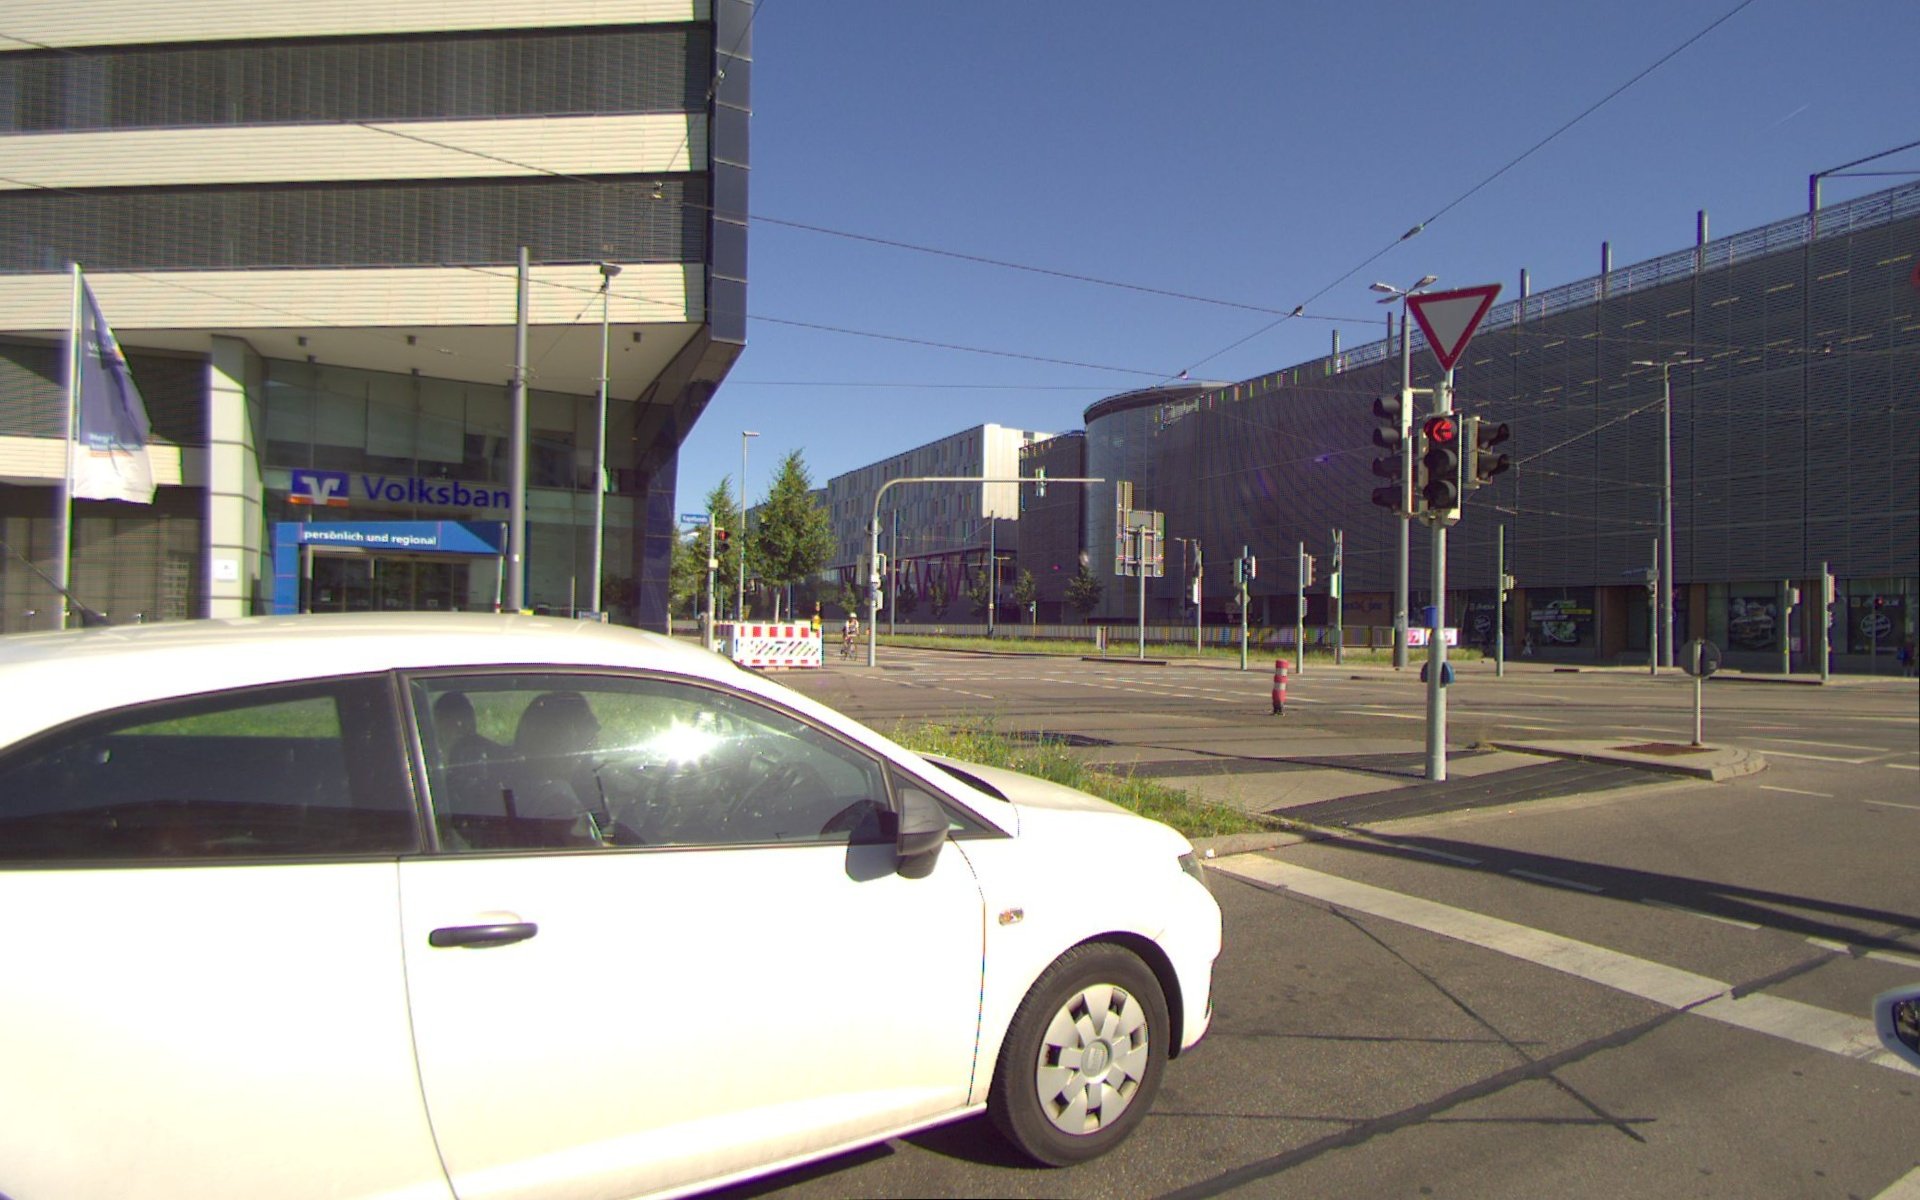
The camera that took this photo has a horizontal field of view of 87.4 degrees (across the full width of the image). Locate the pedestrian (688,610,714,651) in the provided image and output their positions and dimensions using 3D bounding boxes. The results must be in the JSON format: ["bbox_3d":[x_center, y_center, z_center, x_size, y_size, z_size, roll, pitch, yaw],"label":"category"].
[{"bbox_3d":[-10.152,1.195,39.384,0.845,1.576,0.610,2,-1,-24],"label":"pedestrian"}]

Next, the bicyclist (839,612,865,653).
[{"bbox_3d":[-3.829,1.139,35.551,0.750,1.428,0.769,1,-1,-17],"label":"bicyclist"}]

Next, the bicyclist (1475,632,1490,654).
[{"bbox_3d":[33.233,2.739,63.881,0.553,1.429,0.651,2,-1,-31],"label":"bicyclist"}]

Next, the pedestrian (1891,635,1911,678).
[{"bbox_3d":[39.970,2.387,42.679,0.616,1.774,0.586,0,-2,42],"label":"pedestrian"}]

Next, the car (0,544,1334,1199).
[{"bbox_3d":[-0.959,0.649,2.752,3.791,1.450,1.656,2,1,-30],"label":"car"}]

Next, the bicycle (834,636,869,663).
[{"bbox_3d":[-3.854,1.735,35.598,0.758,0.851,2.559,1,-1,-17],"label":"bicycle"}]

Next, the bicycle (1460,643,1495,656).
[{"bbox_3d":[33.045,3.154,64.216,0.553,0.822,2.005,2,-2,-30],"label":"bicycle"}]
